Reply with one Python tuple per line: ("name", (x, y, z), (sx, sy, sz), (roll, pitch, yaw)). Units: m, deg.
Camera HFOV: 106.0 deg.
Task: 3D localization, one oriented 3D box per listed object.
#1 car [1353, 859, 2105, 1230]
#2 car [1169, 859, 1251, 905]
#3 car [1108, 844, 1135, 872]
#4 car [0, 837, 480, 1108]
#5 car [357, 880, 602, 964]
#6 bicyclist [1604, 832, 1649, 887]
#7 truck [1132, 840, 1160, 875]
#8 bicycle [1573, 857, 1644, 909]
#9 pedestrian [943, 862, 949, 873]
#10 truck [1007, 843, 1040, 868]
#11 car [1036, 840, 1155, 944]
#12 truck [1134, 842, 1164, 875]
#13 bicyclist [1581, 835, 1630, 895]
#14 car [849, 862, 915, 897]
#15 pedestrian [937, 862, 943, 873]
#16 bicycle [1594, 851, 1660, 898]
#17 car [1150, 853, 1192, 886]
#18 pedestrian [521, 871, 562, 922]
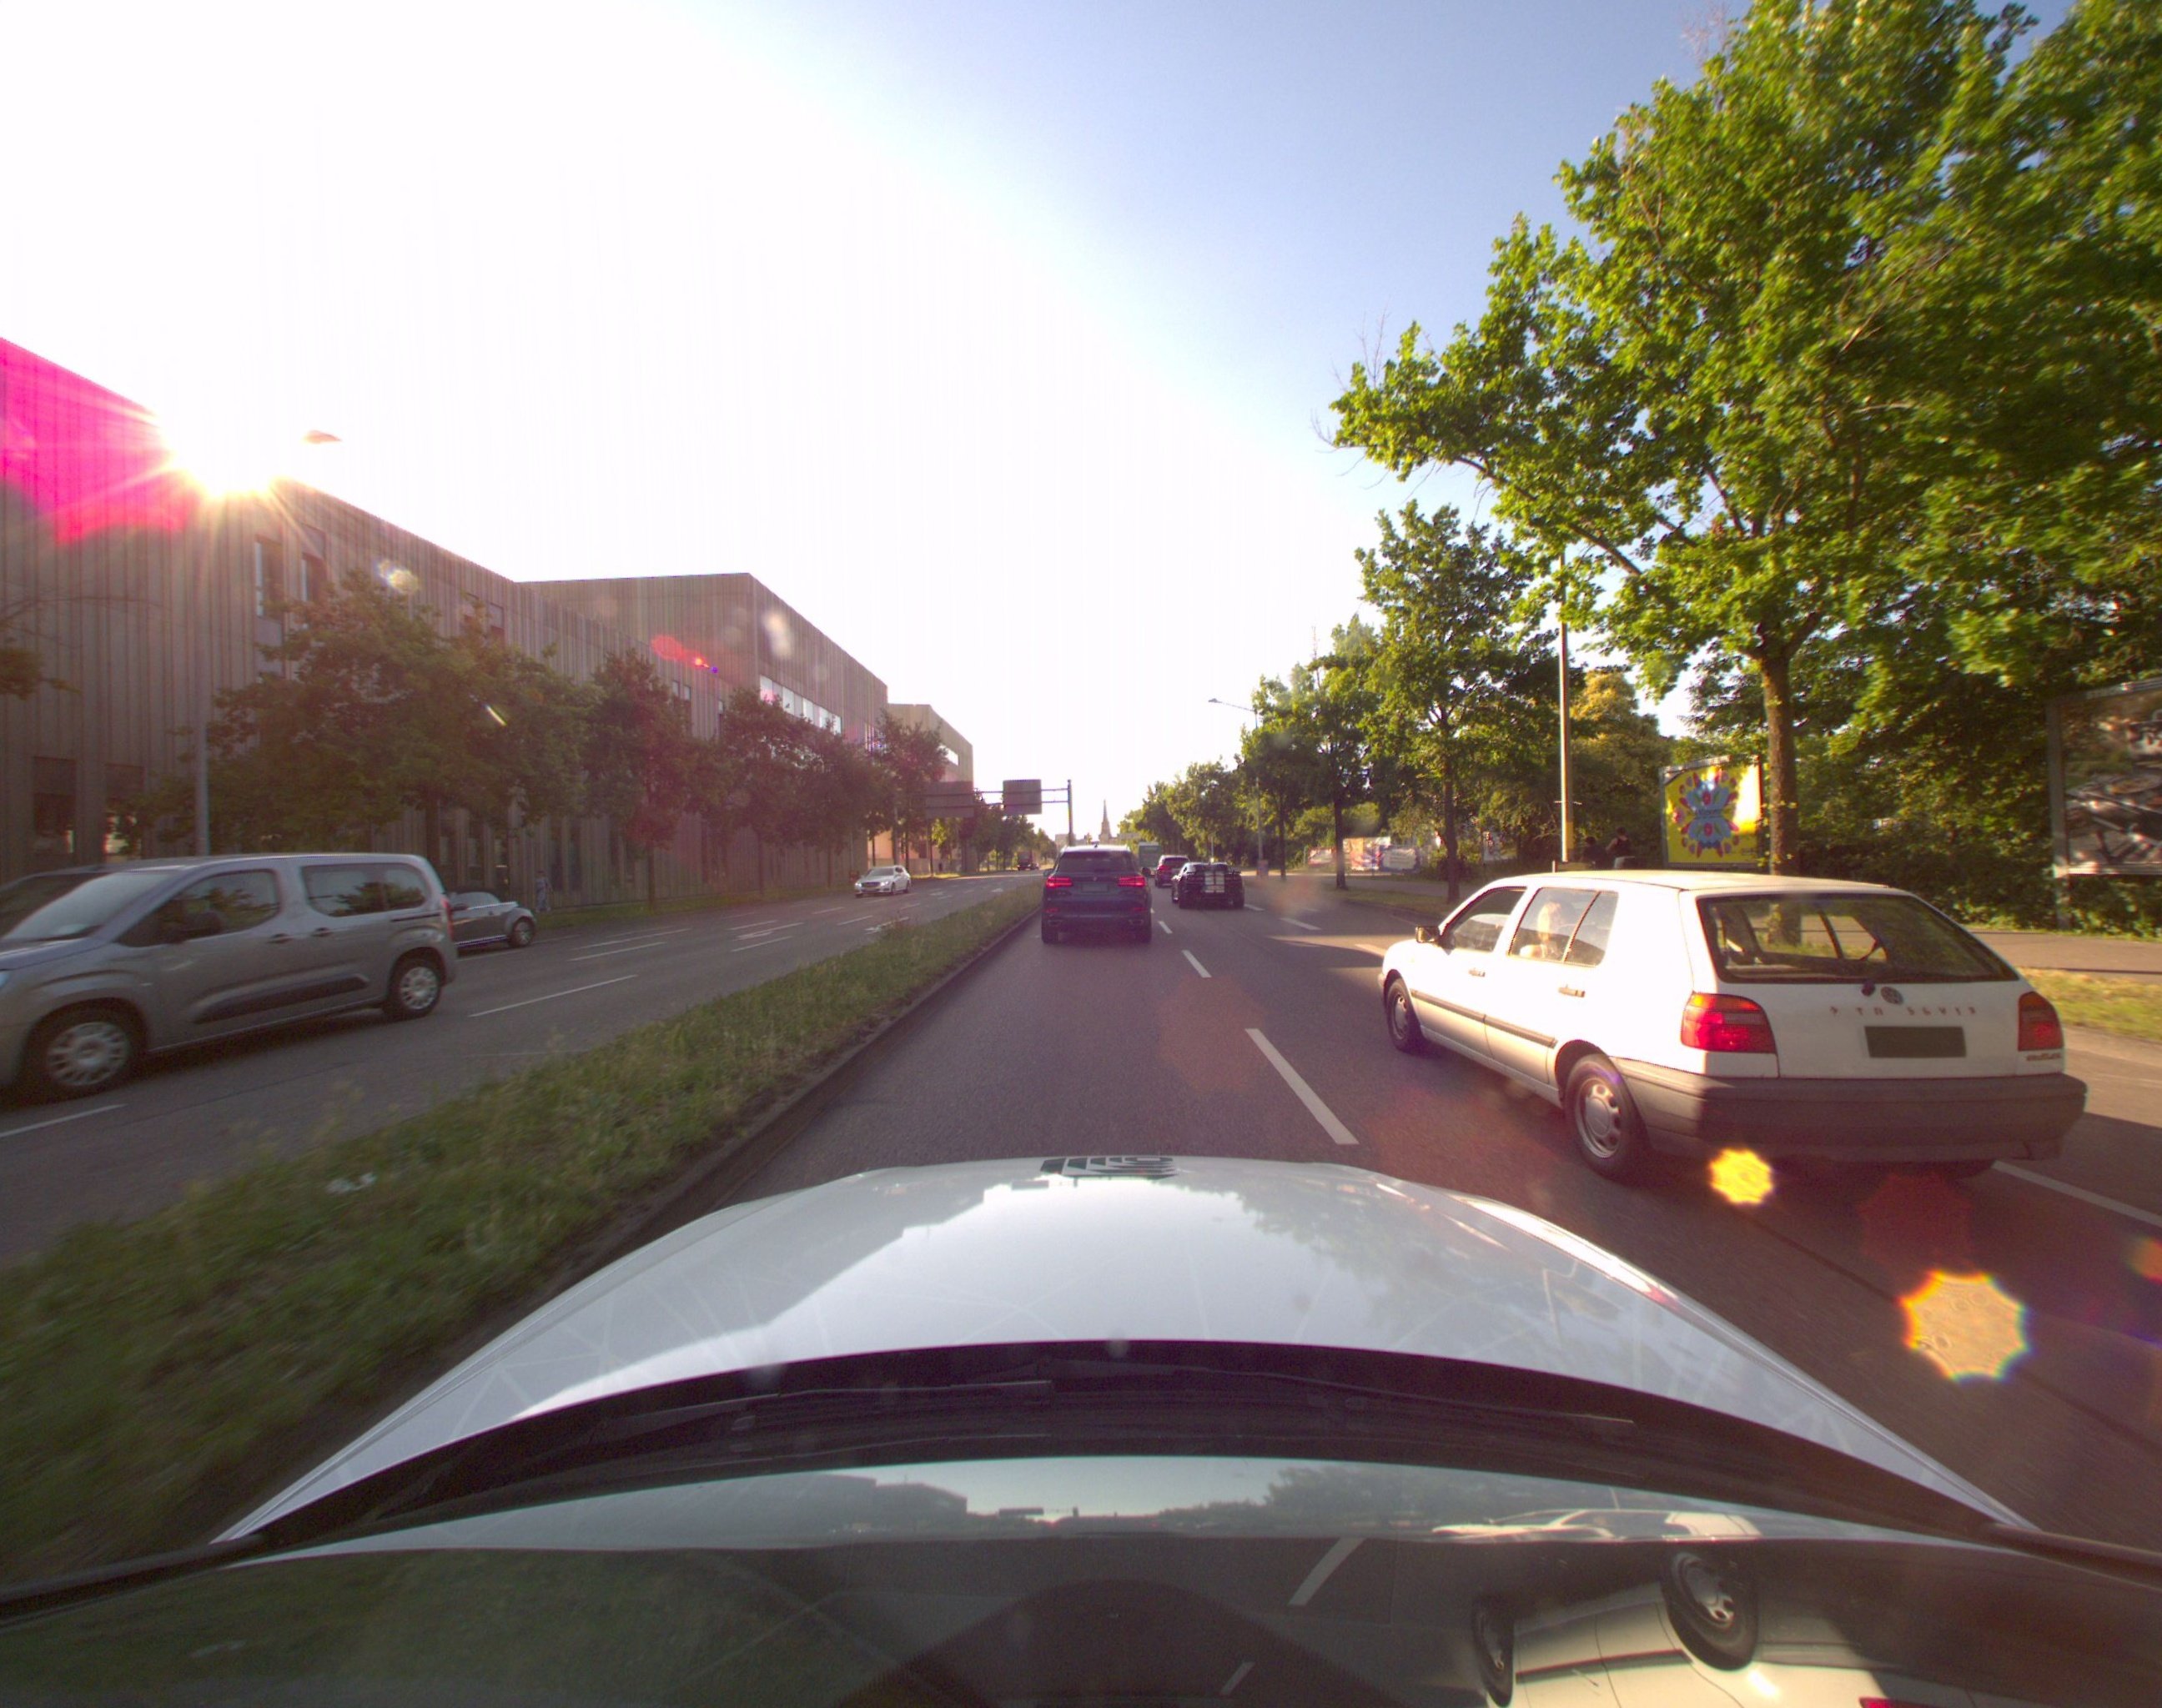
("car", (3.164, 0.776, 5.168), (1.573, 1.413, 4.062), (0, -1, 1))
("car", (3.807, 0.829, 24.709), (1.986, 1.295, 4.001), (0, -1, 2))
("car", (3.909, 0.421, 79.769), (2.132, 2.576, 5.080), (0, -1, -3))
("car", (-7.959, 0.898, 7.217), (1.750, 1.777, 4.494), (-5, -1, 1))
("car", (-13.501, 1.442, 18.748), (1.987, 1.452, 4.714), (-5, -1, 0))
("bicyclist", (13.346, 0.133, 19.939), (0.541, 1.316, 0.835), (0, -2, 2))
("truck", (5.189, 0.310, 65.240), (1.988, 2.669, 4.001), (0, -1, 2))
("bicycle", (11.862, 0.640, 18.372), (0.562, 1.112, 1.622), (0, -1, 2))
("pedestrian", (-18.225, 1.829, 109.941), (0.624, 1.522, 0.719), (0, -2, 4))
("truck", (-10.034, 0.381, 143.870), (3.970, 4.088, 11.462), (0, -1, 5))
("car", (0.315, 0.690, 15.919), (1.986, 1.734, 4.534), (0, -1, 2))
("truck", (5.019, 0.376, 60.494), (1.988, 2.315, 4.001), (0, -1, 2))
("bicyclist", (11.857, 0.254, 18.428), (0.541, 1.316, 0.835), (0, -2, 1))
("car", (-9.917, 1.269, 41.019), (1.987, 1.452, 4.714), (-5, -1, 0))
("pedestrian", (-19.137, 1.845, 110.369), (0.624, 1.522, 0.719), (0, -2, 4))
("bicycle", (13.350, 0.499, 19.965), (0.562, 1.112, 1.622), (0, -1, 2))
("car", (4.473, 0.765, 40.798), (1.789, 1.559, 4.001), (0, -1, 2))
("pedestrian", (-21.987, 1.717, 33.213), (1.014, 2.014, 0.962), (0, -2, 2))
